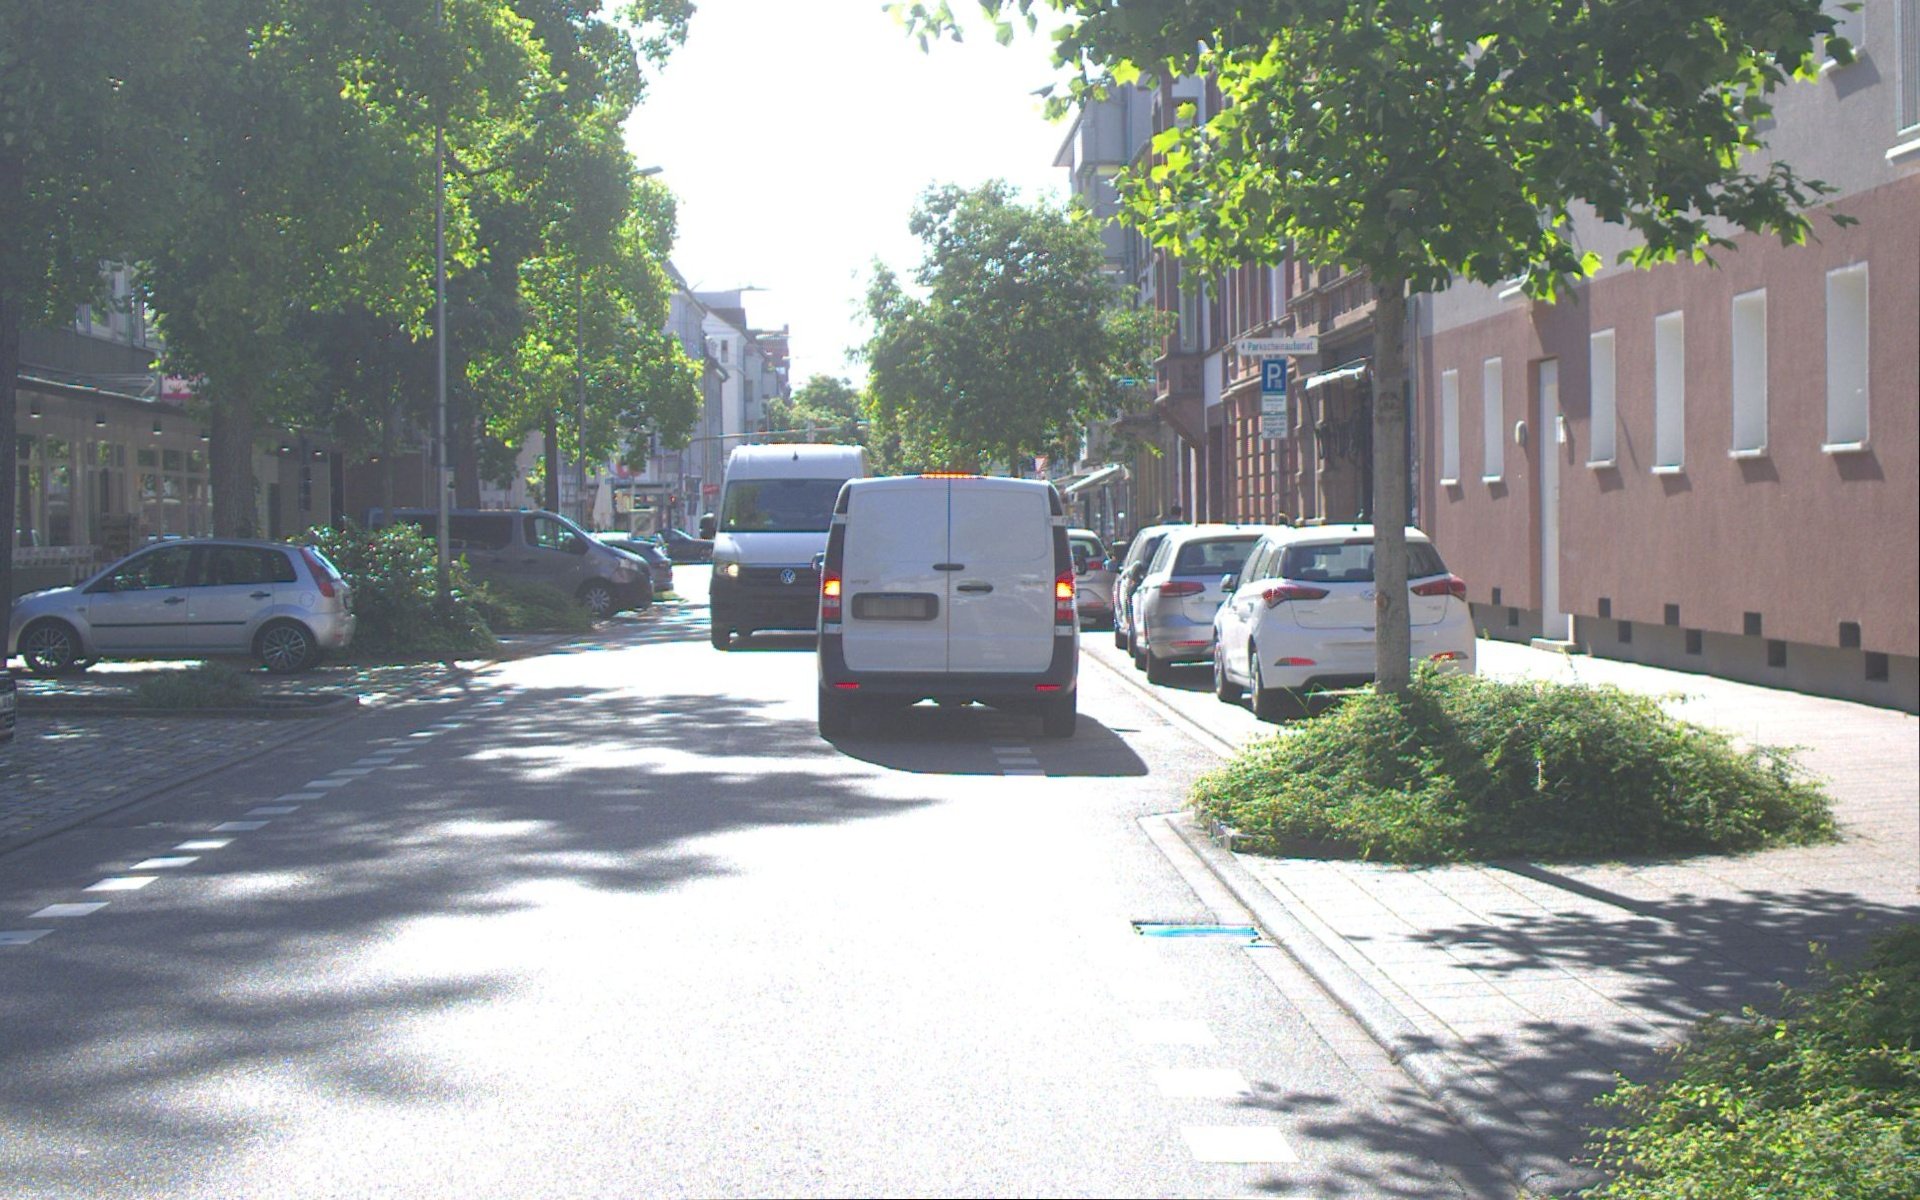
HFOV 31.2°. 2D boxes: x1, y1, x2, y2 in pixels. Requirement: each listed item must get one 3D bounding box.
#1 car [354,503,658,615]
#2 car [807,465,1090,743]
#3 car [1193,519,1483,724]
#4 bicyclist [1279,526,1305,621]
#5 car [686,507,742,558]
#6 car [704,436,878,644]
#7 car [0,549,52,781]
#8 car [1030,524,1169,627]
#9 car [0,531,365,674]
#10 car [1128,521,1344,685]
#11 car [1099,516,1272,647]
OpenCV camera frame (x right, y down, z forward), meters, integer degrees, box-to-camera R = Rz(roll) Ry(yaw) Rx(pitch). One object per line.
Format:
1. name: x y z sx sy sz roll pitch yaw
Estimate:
1. car: -8.199 -0.753 62.443 5.292 1.967 2.016 0 1 -2
2. car: -0.185 -0.041 26.152 1.920 1.907 4.889 0 2 -3
3. car: 3.012 0.117 28.085 1.731 1.481 3.795 -3 1 -3
4. bicyclist: 5.178 -0.420 53.630 0.361 1.472 0.530 0 1 3
5. car: -10.027 -2.759 140.462 1.993 2.007 4.000 -1 1 0
6. car: -2.102 -0.812 44.471 1.993 2.465 6.604 -1 2 -1
7. car: -8.027 0.396 22.160 3.917 1.445 1.710 0 1 -2
8. car: 2.052 -0.401 51.494 1.738 1.446 4.001 -1 1 -2
9. car: -8.620 0.012 37.411 3.986 1.452 1.861 -1 1 -2
10. car: 2.673 -0.023 34.167 1.786 1.455 4.517 -2 1 1
11. car: 2.657 -0.256 41.216 1.709 1.475 3.711 -1 1 -2
